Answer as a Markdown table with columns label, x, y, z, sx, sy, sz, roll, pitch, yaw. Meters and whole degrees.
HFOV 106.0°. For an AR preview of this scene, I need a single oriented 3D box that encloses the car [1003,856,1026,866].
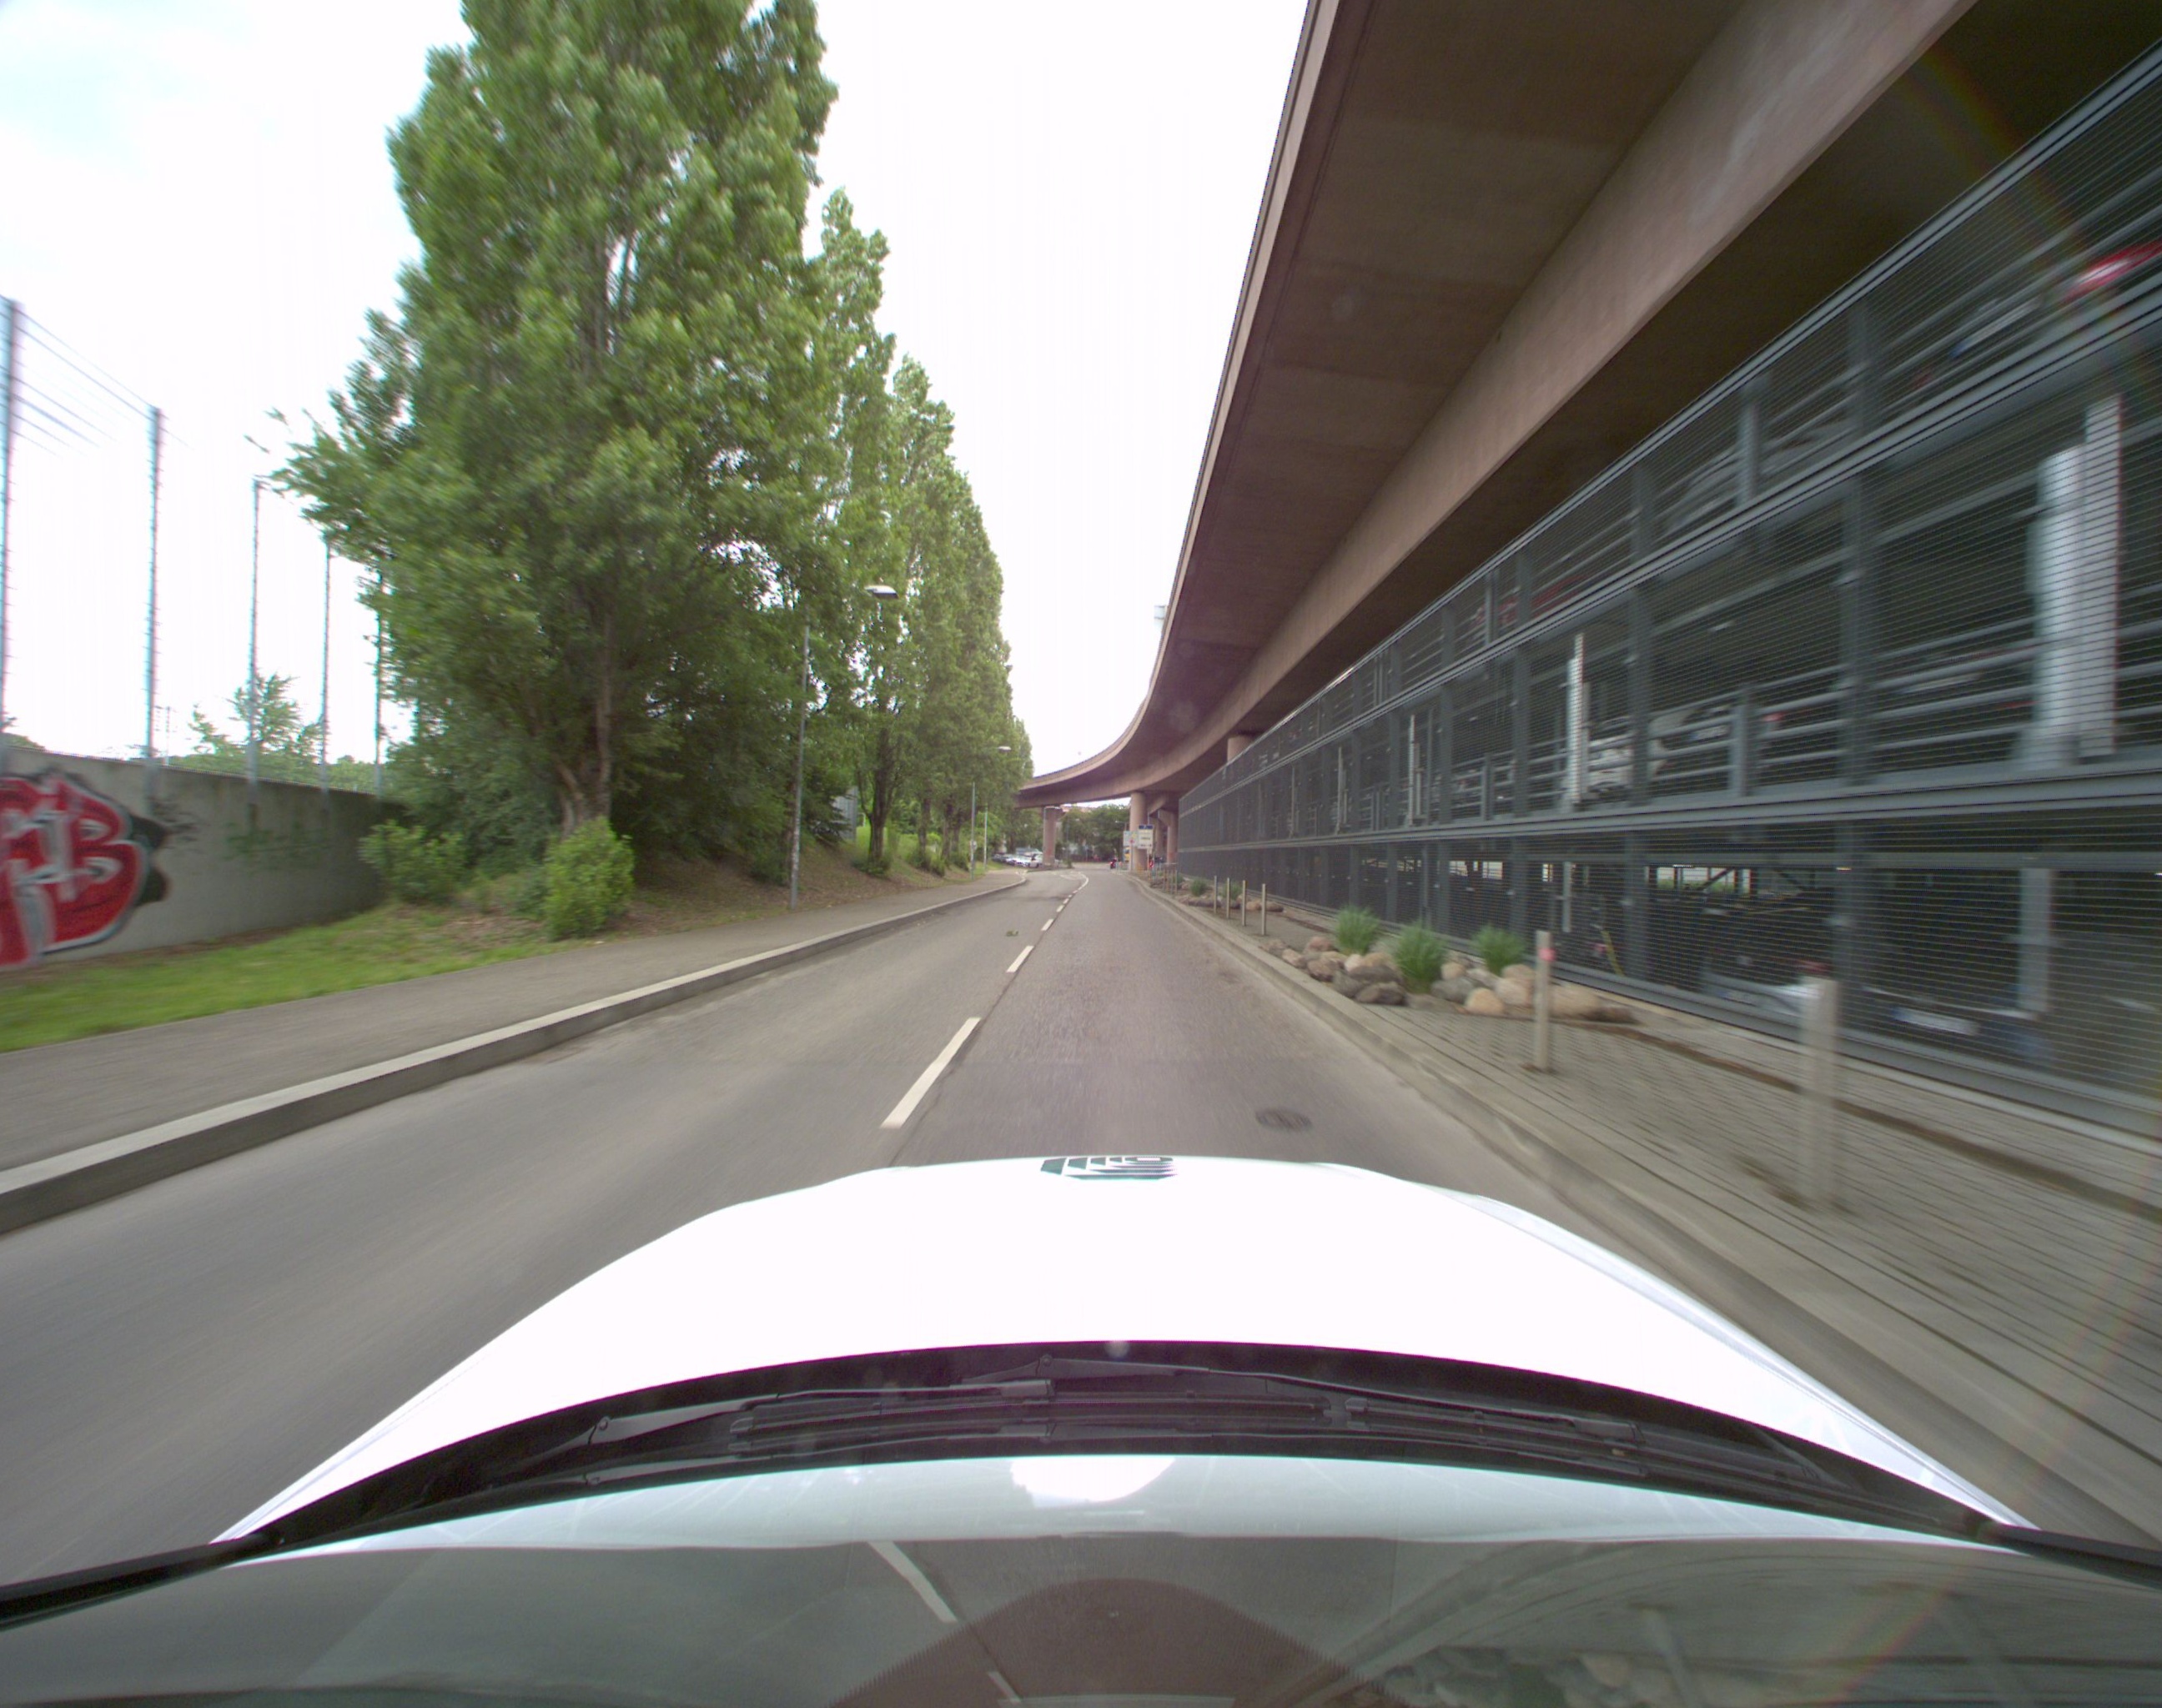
| label | x | y | z | sx | sy | sz | roll | pitch | yaw |
| --- | --- | --- | --- | --- | --- | --- | --- | --- | --- |
| car | -9.616 | 1.034 | 118.000 | 1.770 | 1.454 | 3.768 | 1 | -1 | 25 |

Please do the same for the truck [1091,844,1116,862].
| label | x | y | z | sx | sy | sz | roll | pitch | yaw |
| --- | --- | --- | --- | --- | --- | --- | --- | --- | --- |
| truck | 5.147 | -0.235 | 189.606 | 3.075 | 3.867 | 7.997 | 0 | 2 | -19 |

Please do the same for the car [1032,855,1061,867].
| label | x | y | z | sx | sy | sz | roll | pitch | yaw |
| --- | --- | --- | --- | --- | --- | --- | --- | --- | --- |
| car | -5.731 | 1.148 | 135.045 | 4.349 | 1.606 | 1.962 | 3 | 0 | 14 |

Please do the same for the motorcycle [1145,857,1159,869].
| label | x | y | z | sx | sy | sz | roll | pitch | yaw |
| --- | --- | --- | --- | --- | --- | --- | --- | --- | --- |
| motorcycle | 7.785 | 0.975 | 89.392 | 0.797 | 1.366 | 2.118 | 0 | 0 | -15 |

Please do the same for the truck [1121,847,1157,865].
| label | x | y | z | sx | sy | sz | roll | pitch | yaw |
| --- | --- | --- | --- | --- | --- | --- | --- | --- | --- |
| truck | 12.329 | 0.336 | 172.147 | 2.900 | 3.480 | 8.296 | 4 | 4 | 41 |

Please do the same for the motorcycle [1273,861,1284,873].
| label | x | y | z | sx | sy | sz | roll | pitch | yaw |
| --- | --- | --- | --- | --- | --- | --- | --- | --- | --- |
| motorcycle | 22.098 | 1.420 | 91.185 | 0.570 | 1.105 | 2.330 | 1 | 4 | -1 |

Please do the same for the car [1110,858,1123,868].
| label | x | y | z | sx | sy | sz | roll | pitch | yaw |
| --- | --- | --- | --- | --- | --- | --- | --- | --- | --- |
| car | 5.705 | 1.456 | 132.162 | 1.987 | 1.679 | 4.561 | 1 | 0 | 1 |

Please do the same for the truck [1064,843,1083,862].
| label | x | y | z | sx | sy | sz | roll | pitch | yaw |
| --- | --- | --- | --- | --- | --- | --- | --- | --- | --- |
| truck | -2.101 | -0.471 | 213.991 | 3.208 | 4.779 | 8.010 | 0 | 1 | -14 |

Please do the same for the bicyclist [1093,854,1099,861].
| label | x | y | z | sx | sy | sz | roll | pitch | yaw |
| --- | --- | --- | --- | --- | --- | --- | --- | --- | --- |
| bicyclist | 3.242 | 0.731 | 172.629 | 0.801 | 1.405 | 1.056 | 0 | -1 | -30 |

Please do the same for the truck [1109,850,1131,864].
| label | x | y | z | sx | sy | sz | roll | pitch | yaw |
| --- | --- | --- | --- | --- | --- | --- | --- | --- | --- |
| truck | 9.107 | 0.690 | 190.950 | 2.924 | 2.898 | 6.516 | 0 | 2 | -19 |

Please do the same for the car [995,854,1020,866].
| label | x | y | z | sx | sy | sz | roll | pitch | yaw |
| --- | --- | --- | --- | --- | --- | --- | --- | --- | --- |
| car | -10.908 | 0.895 | 120.990 | 1.840 | 1.691 | 4.187 | 1 | -1 | 25 |

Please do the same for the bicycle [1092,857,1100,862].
| label | x | y | z | sx | sy | sz | roll | pitch | yaw |
| --- | --- | --- | --- | --- | --- | --- | --- | --- | --- |
| bicycle | 3.200 | 1.179 | 172.703 | 0.807 | 1.097 | 2.111 | 0 | -1 | -30 |

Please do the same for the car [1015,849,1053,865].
| label | x | y | z | sx | sy | sz | roll | pitch | yaw |
| --- | --- | --- | --- | --- | --- | --- | --- | --- | --- |
| car | -8.266 | 0.511 | 143.748 | 6.145 | 2.725 | 2.371 | 2 | 0 | 5 |

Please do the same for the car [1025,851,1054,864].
| label | x | y | z | sx | sy | sz | roll | pitch | yaw |
| --- | --- | --- | --- | --- | --- | --- | --- | --- | --- |
| car | -7.145 | 0.560 | 140.877 | 4.528 | 2.111 | 1.856 | 2 | 0 | 9 |

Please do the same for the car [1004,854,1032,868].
| label | x | y | z | sx | sy | sz | roll | pitch | yaw |
| --- | --- | --- | --- | --- | --- | --- | --- | --- | --- |
| car | -8.832 | 1.010 | 114.482 | 1.977 | 1.583 | 4.423 | 5 | 0 | 23 |

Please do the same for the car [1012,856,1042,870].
| label | x | y | z | sx | sy | sz | roll | pitch | yaw |
| --- | --- | --- | --- | --- | --- | --- | --- | --- | --- |
| car | -7.254 | 1.229 | 110.381 | 1.977 | 1.480 | 4.853 | 5 | -1 | 22 |
